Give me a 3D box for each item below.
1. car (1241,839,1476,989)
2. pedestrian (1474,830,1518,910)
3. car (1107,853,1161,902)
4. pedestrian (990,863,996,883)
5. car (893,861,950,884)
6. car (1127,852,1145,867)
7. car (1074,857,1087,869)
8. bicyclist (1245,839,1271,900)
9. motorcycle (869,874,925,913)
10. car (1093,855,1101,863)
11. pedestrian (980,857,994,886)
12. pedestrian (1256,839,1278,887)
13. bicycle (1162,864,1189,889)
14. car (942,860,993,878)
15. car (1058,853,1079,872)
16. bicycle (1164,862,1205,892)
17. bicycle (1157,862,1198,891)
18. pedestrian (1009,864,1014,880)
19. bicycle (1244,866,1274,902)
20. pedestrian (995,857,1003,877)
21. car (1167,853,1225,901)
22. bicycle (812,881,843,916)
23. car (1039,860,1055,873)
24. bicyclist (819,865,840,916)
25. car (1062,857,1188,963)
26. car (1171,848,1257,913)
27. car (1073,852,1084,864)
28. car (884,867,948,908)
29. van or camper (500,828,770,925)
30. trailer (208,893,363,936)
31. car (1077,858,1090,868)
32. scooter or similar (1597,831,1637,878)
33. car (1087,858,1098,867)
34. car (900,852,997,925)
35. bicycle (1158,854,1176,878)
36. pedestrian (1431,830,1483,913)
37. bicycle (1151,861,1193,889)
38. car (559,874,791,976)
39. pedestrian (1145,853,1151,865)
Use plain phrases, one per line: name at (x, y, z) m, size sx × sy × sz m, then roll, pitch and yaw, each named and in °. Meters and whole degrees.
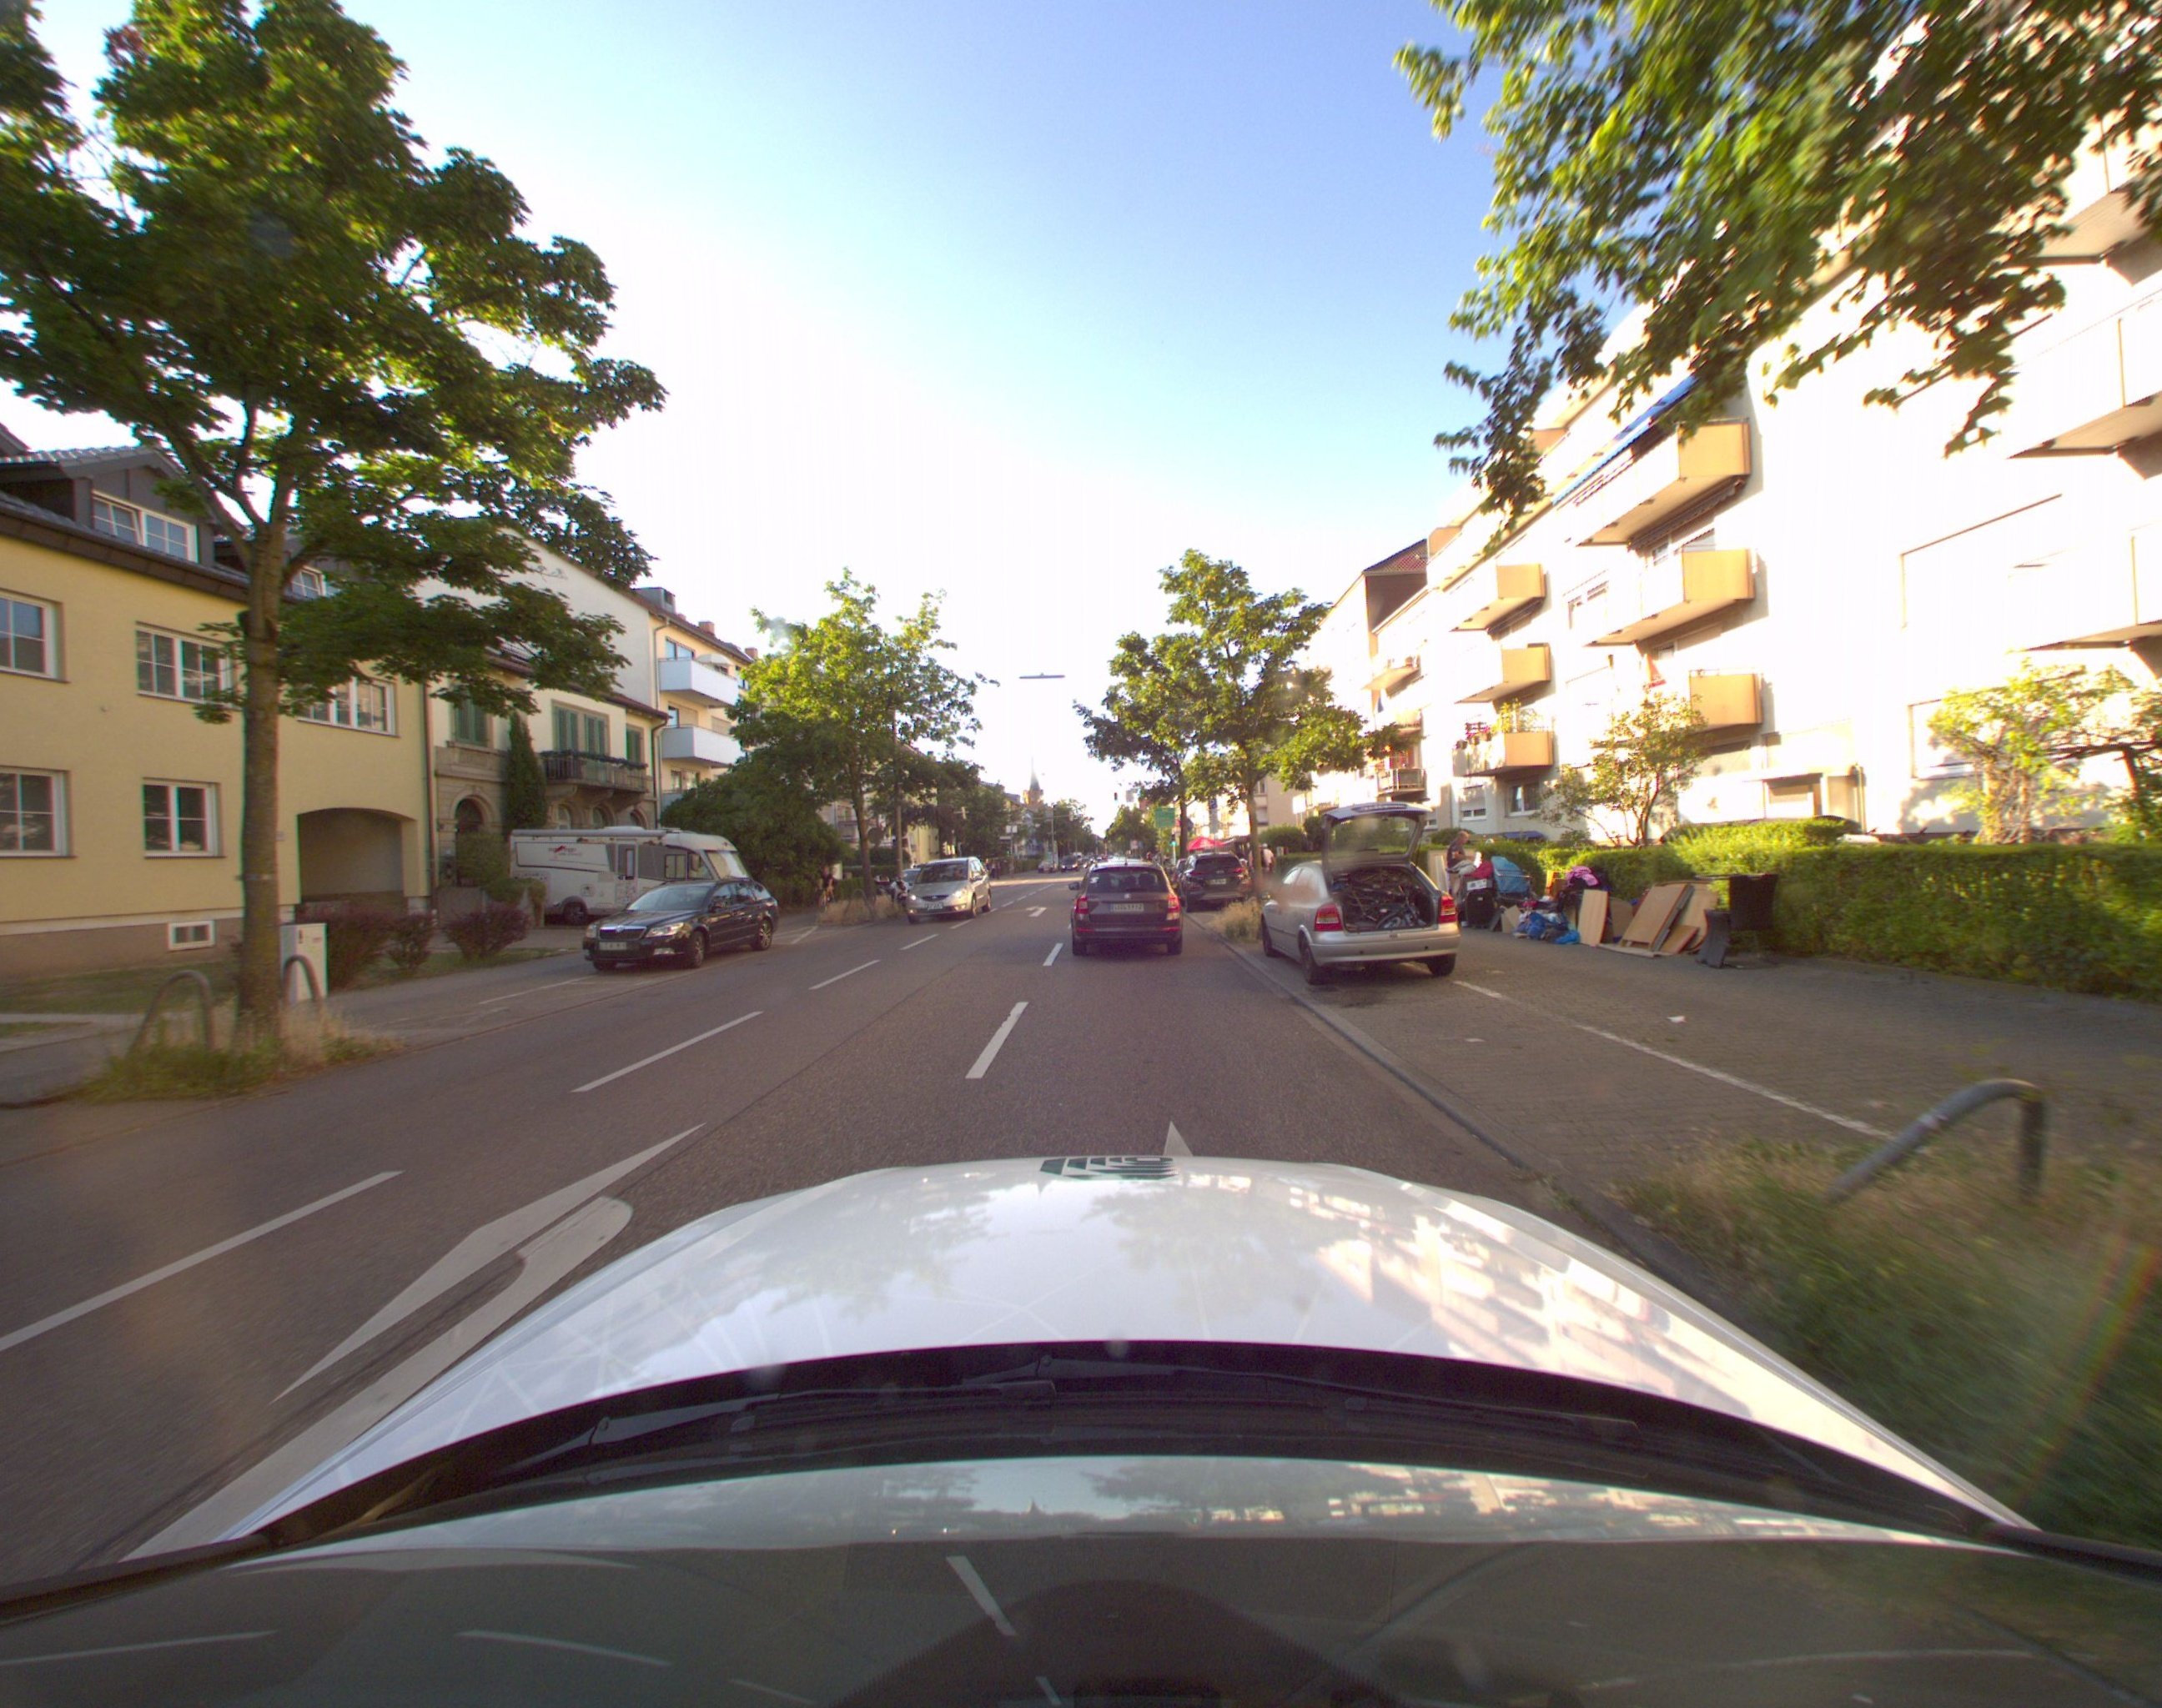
car at (3.391, 0.655, 10.853) m, size 1.702 × 1.480 × 4.270 m, roll -4°, pitch 0°, yaw 2°
pedestrian at (8.186, 0.316, 16.059) m, size 0.586 × 1.540 × 0.700 m, roll -3°, pitch -1°, yaw 38°
car at (1.818, 0.780, 28.411) m, size 1.729 × 1.571 × 4.003 m, roll 0°, pitch 0°, yaw 3°
pedestrian at (-8.174, 1.749, 75.546) m, size 0.447 × 1.797 × 0.504 m, roll -3°, pitch -1°, yaw 2°
car at (-14.169, 1.650, 72.577) m, size 4.617 × 1.812 × 1.862 m, roll -2°, pitch -1°, yaw 1°
car at (6.672, 0.694, 98.242) m, size 1.984 × 1.772 × 4.005 m, roll 0°, pitch 0°, yaw 5°
car at (-0.047, 1.342, 122.417) m, size 1.823 × 1.579 × 4.002 m, roll -3°, pitch 0°, yaw 2°
bicyclist at (5.309, 0.467, 24.450) m, size 0.579 × 1.789 × 0.852 m, roll -2°, pitch 0°, yaw 2°
motorcycle at (-6.391, 1.356, 28.183) m, size 2.028 × 1.265 × 0.772 m, roll -3°, pitch -1°, yaw 40°
car at (4.368, 1.380, 217.982) m, size 1.986 × 2.013 × 4.002 m, roll -2°, pitch 0°, yaw 2°
pedestrian at (-6.631, 1.256, 57.515) m, size 0.777 × 1.987 × 0.821 m, roll -3°, pitch -1°, yaw 2°
pedestrian at (7.054, 0.342, 30.880) m, size 0.659 × 1.749 × 0.774 m, roll -4°, pitch -1°, yaw 8°
bicycle at (4.277, 1.026, 36.766) m, size 0.613 × 1.051 × 1.583 m, roll -3°, pitch -1°, yaw 28°
car at (-10.905, 1.442, 78.587) m, size 4.617 × 1.535 × 1.862 m, roll -1°, pitch 0°, yaw 1°
car at (-1.374, 0.975, 91.919) m, size 1.986 × 1.908 × 4.966 m, roll -4°, pitch 0°, yaw 2°
bicycle at (4.090, 0.916, 32.257) m, size 1.564 × 1.104 × 0.392 m, roll -2°, pitch -1°, yaw 2°
bicycle at (4.192, 0.993, 35.499) m, size 1.677 × 1.107 × 0.518 m, roll -5°, pitch -1°, yaw 8°
pedestrian at (-6.502, 1.673, 76.583) m, size 0.299 × 1.504 × 0.641 m, roll -2°, pitch -1°, yaw 3°
bicycle at (5.321, 0.886, 24.432) m, size 0.514 × 0.987 × 1.832 m, roll -2°, pitch 0°, yaw 2°
pedestrian at (-7.602, 1.206, 75.203) m, size 0.613 × 1.797 × 0.504 m, roll -3°, pitch -1°, yaw 2°
car at (3.969, 0.762, 28.593) m, size 1.696 × 1.450 × 4.018 m, roll -4°, pitch 0°, yaw 4°
bicycle at (-8.422, 1.451, 27.091) m, size 0.484 × 1.064 × 1.535 m, roll -2°, pitch -1°, yaw 2°
car at (-3.891, 1.436, 94.261) m, size 1.516 × 1.457 × 3.587 m, roll -2°, pitch 0°, yaw 2°
bicyclist at (-8.428, 1.213, 27.297) m, size 0.467 × 1.663 × 0.552 m, roll -2°, pitch -1°, yaw 1°
car at (0.695, 0.815, 13.812) m, size 1.766 × 1.489 × 4.312 m, roll -1°, pitch 0°, yaw 2°
car at (3.705, 0.713, 23.322) m, size 1.849 × 1.581 × 4.015 m, roll -4°, pitch 0°, yaw 2°
car at (-0.467, 0.827, 170.846) m, size 1.986 × 2.478 × 4.002 m, roll -2°, pitch 0°, yaw 2°
car at (-6.377, 1.264, 31.896) m, size 1.587 × 1.470 × 3.805 m, roll 0°, pitch 0°, yaw 2°
van or camper at (-13.220, 0.636, 24.470) m, size 6.773 × 2.773 × 2.352 m, roll 0°, pitch -1°, yaw 1°
trailer at (-20.440, 1.538, 21.005) m, size 2.395 × 0.960 × 1.628 m, roll 0°, pitch 0°, yaw 2°
car at (0.448, 1.464, 138.796) m, size 1.985 × 1.610 × 4.003 m, roll -2°, pitch 0°, yaw 3°
scooter or similar at (14.833, 0.018, 22.553) m, size 0.612 × 1.272 × 0.669 m, roll -2°, pitch -1°, yaw 2°
car at (2.126, 1.556, 151.517) m, size 1.780 × 1.571 × 4.003 m, roll 0°, pitch 0°, yaw 3°
car at (-3.707, 0.912, 23.706) m, size 1.799 × 1.804 × 4.747 m, roll -4°, pitch 0°, yaw 2°
bicycle at (4.269, 0.597, 40.658) m, size 0.501 × 1.147 × 1.956 m, roll -5°, pitch -1°, yaw -4°
pedestrian at (7.668, 0.354, 16.588) m, size 0.748 × 1.640 × 0.700 m, roll -3°, pitch -1°, yaw 38°
bicycle at (4.301, 1.008, 38.458) m, size 1.824 × 1.157 × 0.685 m, roll -5°, pitch -1°, yaw 8°
car at (-7.206, 1.168, 15.076) m, size 1.860 × 1.494 × 4.520 m, roll -1°, pitch 0°, yaw 2°
pedestrian at (9.873, 0.675, 120.034) m, size 0.668 × 1.704 × 0.806 m, roll -3°, pitch -1°, yaw 28°
